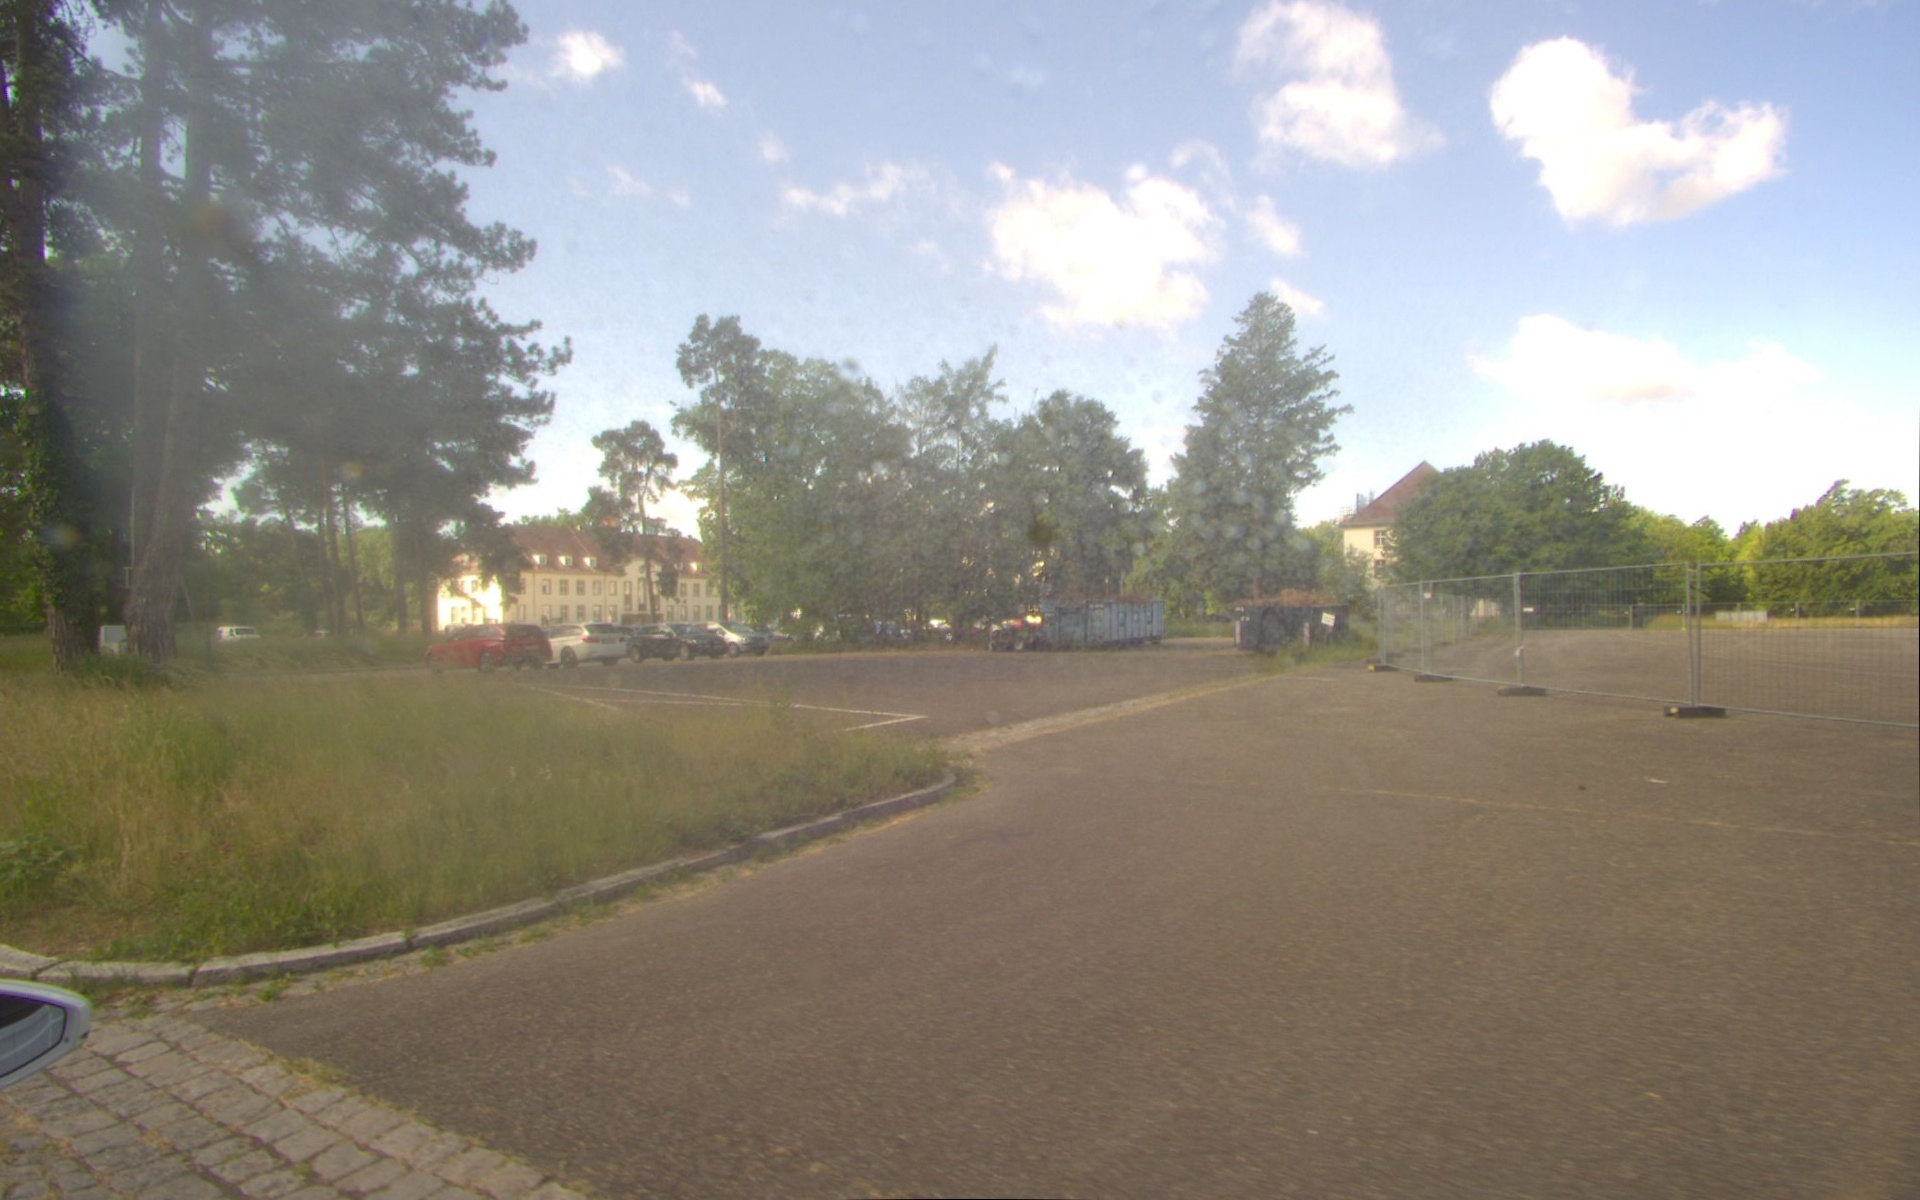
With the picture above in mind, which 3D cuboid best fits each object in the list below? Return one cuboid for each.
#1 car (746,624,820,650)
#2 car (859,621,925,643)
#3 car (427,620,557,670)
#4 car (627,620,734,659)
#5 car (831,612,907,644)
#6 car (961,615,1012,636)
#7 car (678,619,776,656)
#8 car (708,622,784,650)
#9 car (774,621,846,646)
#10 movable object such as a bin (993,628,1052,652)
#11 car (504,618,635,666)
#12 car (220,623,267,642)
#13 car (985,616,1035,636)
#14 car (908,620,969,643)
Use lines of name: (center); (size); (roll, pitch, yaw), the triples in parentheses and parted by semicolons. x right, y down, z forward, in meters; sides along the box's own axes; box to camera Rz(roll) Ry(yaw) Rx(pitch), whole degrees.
car: (-10.190, 2.116, 57.647); (4.181, 1.443, 1.721); (-1, -2, 32)
car: (-4.554, 2.129, 67.005); (4.181, 1.443, 1.721); (-1, -2, 32)
car: (-14.136, 1.368, 30.190); (4.071, 1.416, 1.653); (-3, -3, 32)
car: (-10.463, 1.465, 37.368); (3.988, 1.332, 1.613); (-1, 0, 33)
car: (-5.896, 1.823, 64.699); (4.677, 1.972, 1.982); (-1, -2, 32)
car: (2.051, 1.985, 77.740); (3.640, 1.567, 1.705); (-1, -2, 32)
car: (-9.319, 1.502, 39.978); (3.740, 1.389, 1.720); (-1, -2, 34)
car: (-11.984, 2.024, 55.948); (4.181, 1.512, 1.721); (-1, -2, 32)
car: (-9.069, 2.022, 60.500); (4.181, 1.487, 1.721); (-1, -2, 32)
movable object such as a bin: (2.128, 1.353, 33.953); (1.696, 0.762, 1.143); (-1, -1, 25)
car: (-12.794, 1.385, 32.769); (4.180, 1.396, 1.776); (-4, -2, 31)
car: (-60.922, 2.750, 85.109); (4.103, 1.602, 1.823); (-1, -1, 32)
car: (4.070, 2.104, 81.141); (3.682, 1.567, 1.705); (-1, -2, 32)
car: (-1.547, 2.296, 72.433); (4.181, 1.567, 1.721); (-1, -2, 32)
